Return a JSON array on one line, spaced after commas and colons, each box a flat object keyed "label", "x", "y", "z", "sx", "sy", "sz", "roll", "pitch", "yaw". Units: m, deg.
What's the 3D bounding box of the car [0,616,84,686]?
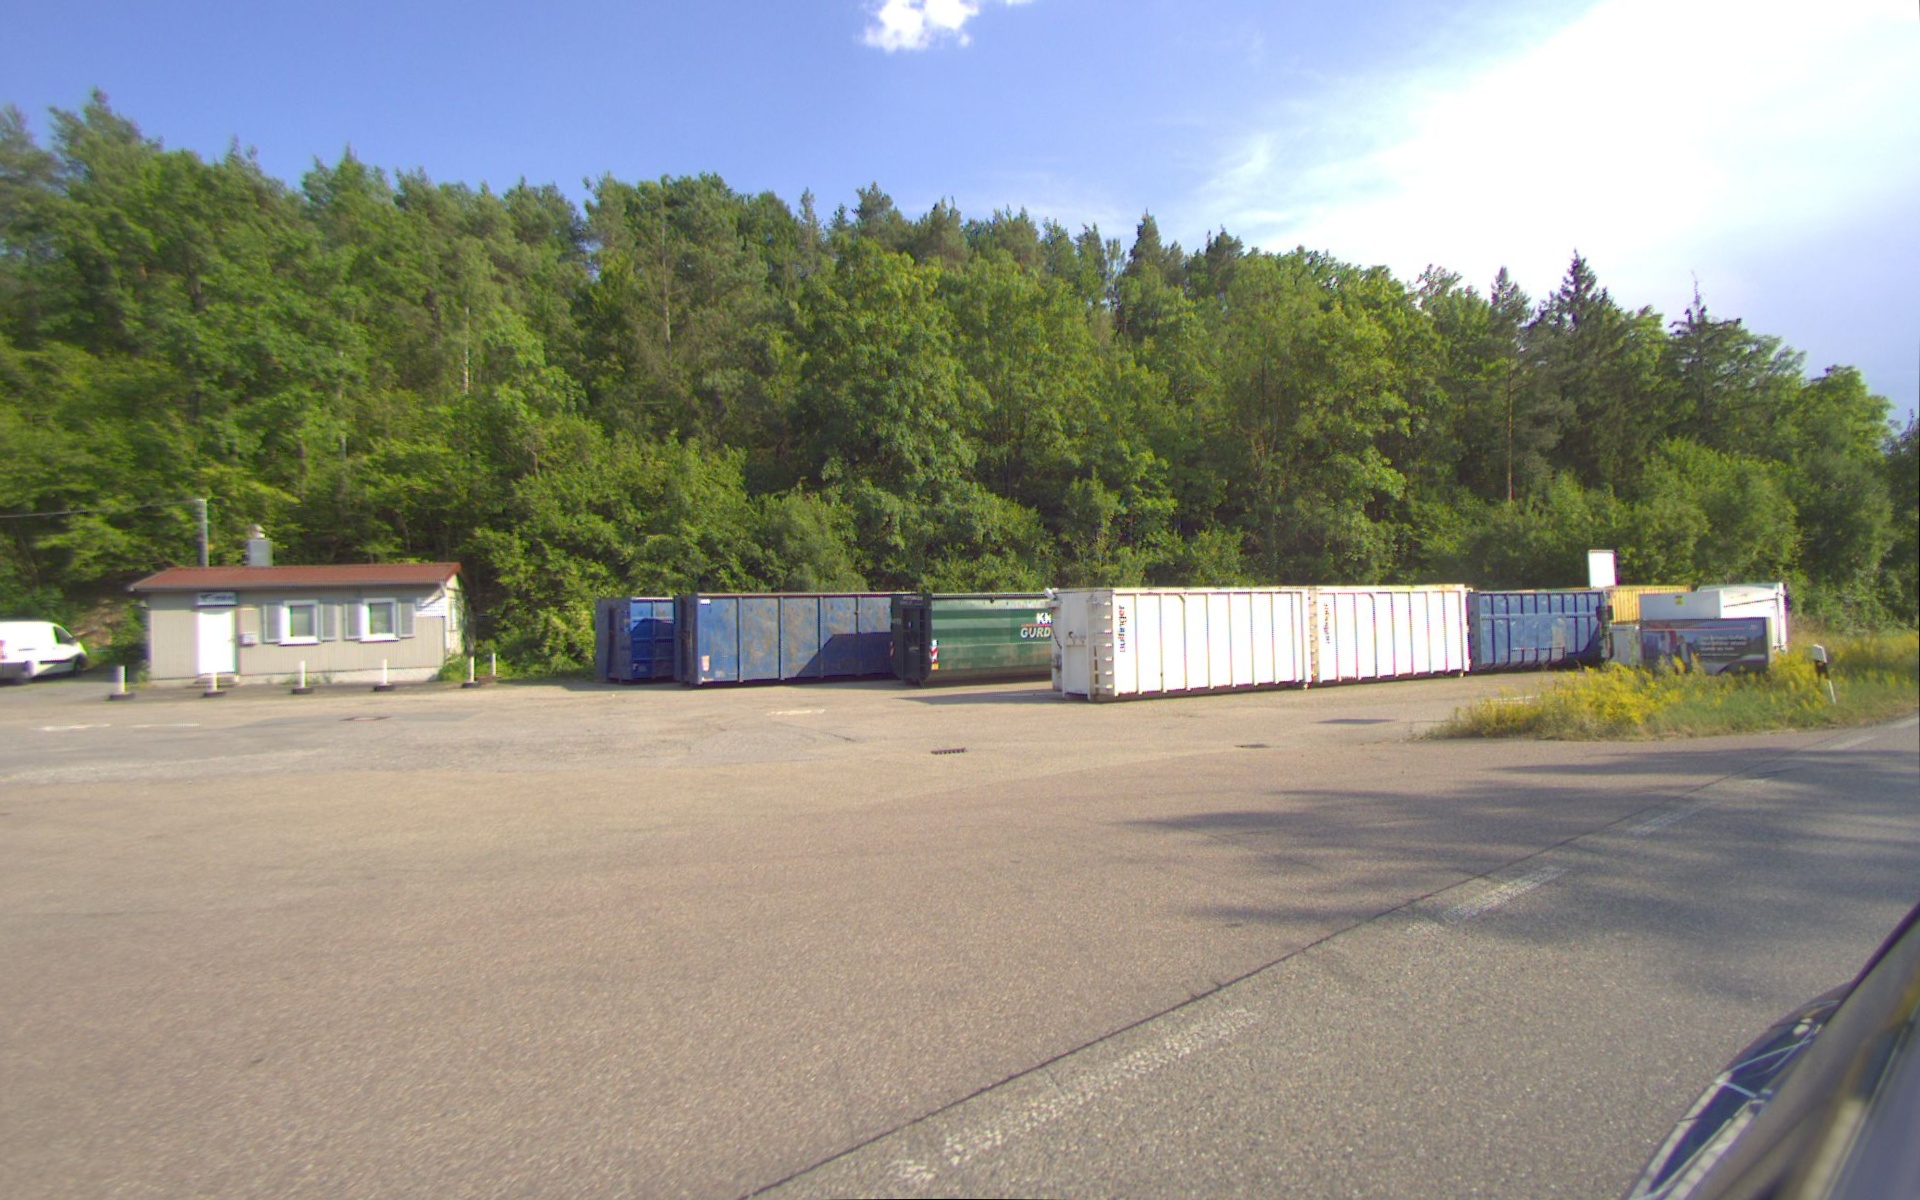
[{"label": "car", "x": -29.630, "y": 1.556, "z": 31.537, "sx": 1.958, "sy": 2.039, "sz": 4.567, "roll": -1, "pitch": -1, "yaw": -19}]
